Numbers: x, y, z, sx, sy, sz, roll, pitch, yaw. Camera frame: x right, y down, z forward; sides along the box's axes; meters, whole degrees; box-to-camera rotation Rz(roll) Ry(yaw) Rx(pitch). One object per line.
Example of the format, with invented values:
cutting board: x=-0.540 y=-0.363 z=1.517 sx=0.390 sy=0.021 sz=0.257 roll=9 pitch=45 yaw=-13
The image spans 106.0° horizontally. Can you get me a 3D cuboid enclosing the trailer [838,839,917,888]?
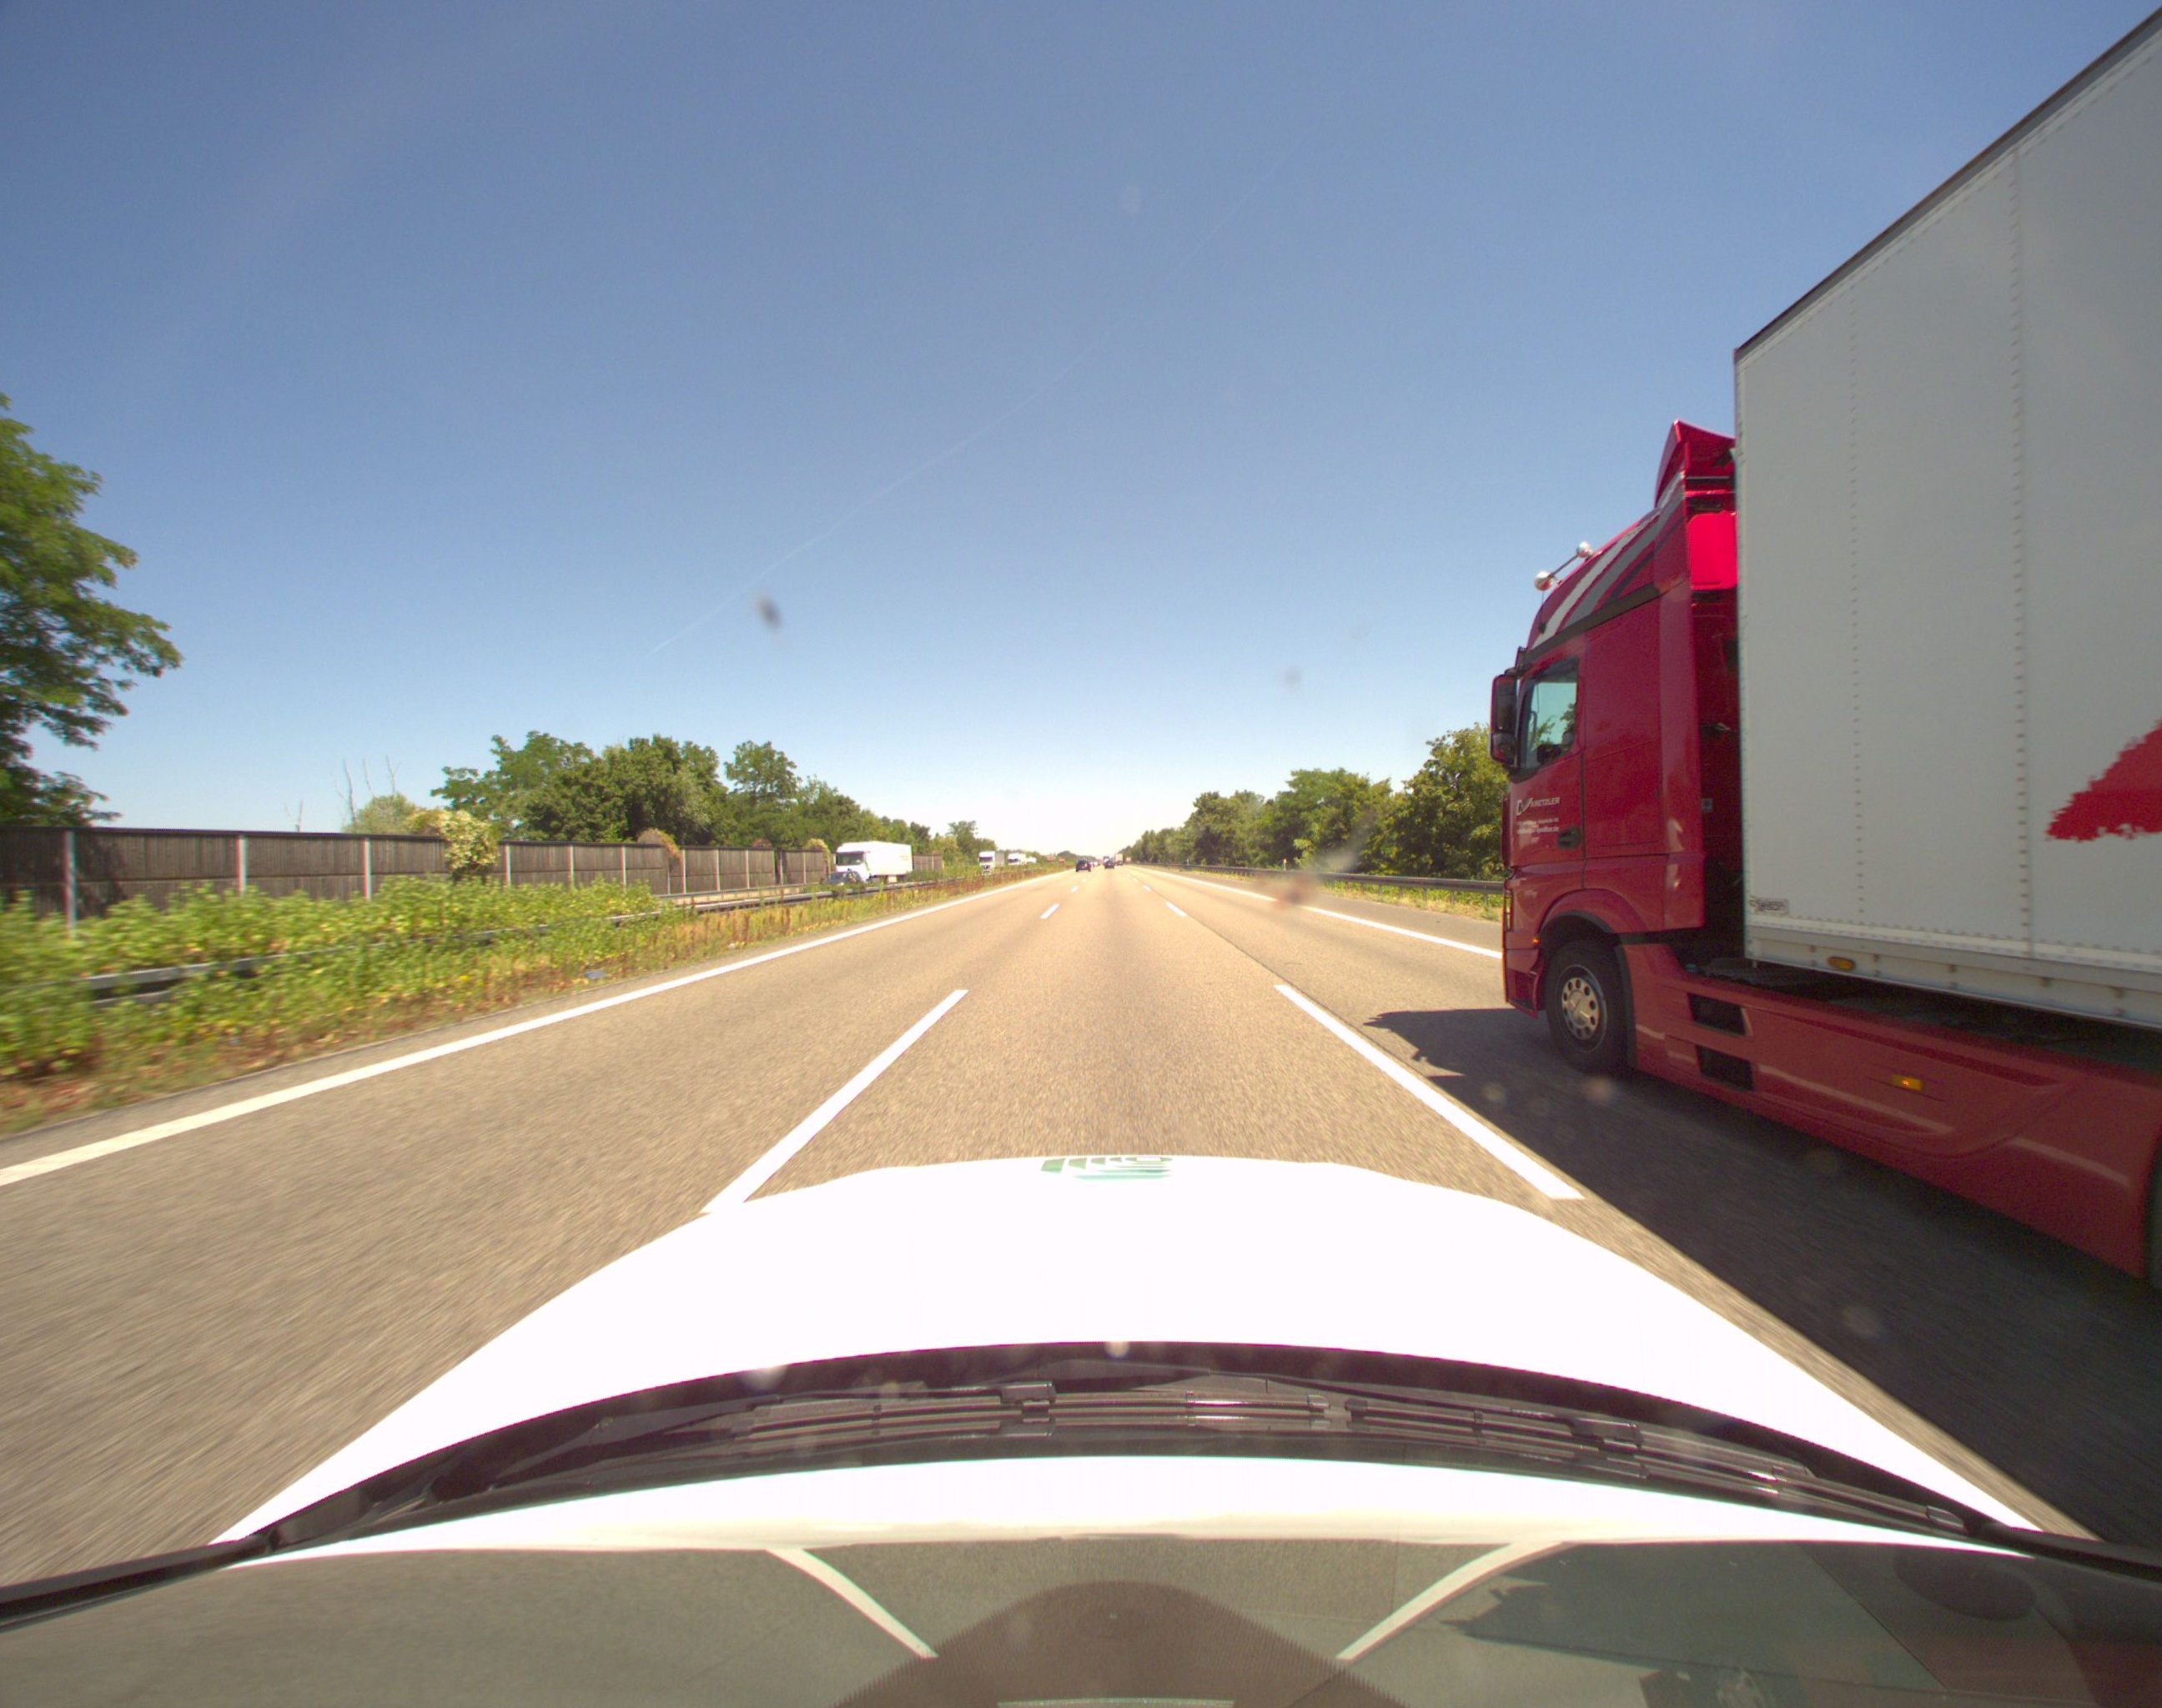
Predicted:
trailer: x=-18.946 y=0.829 z=76.929 sx=3.597 sy=4.103 sz=12.802 roll=-3 pitch=0 yaw=2

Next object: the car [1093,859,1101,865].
car: x=4.605 y=2.408 z=236.386 sx=2.120 sy=1.645 sz=4.306 roll=-3 pitch=-1 yaw=2

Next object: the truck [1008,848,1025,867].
truck: x=-14.664 y=0.706 z=184.621 sx=2.831 sy=4.207 sz=7.718 roll=-1 pitch=0 yaw=2

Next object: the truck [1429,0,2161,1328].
truck: x=4.820 y=-1.093 z=4.197 sx=3.221 sy=4.889 sz=6.976 roll=-1 pitch=0 yaw=2

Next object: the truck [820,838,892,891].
truck: x=-19.157 y=0.865 z=70.009 sx=3.568 sy=4.103 sz=7.842 roll=-3 pitch=0 yaw=2

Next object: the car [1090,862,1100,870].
car: x=3.145 y=2.721 z=180.089 sx=2.120 sy=1.645 sz=4.306 roll=-3 pitch=-1 yaw=2

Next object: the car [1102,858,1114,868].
car: x=4.677 y=1.529 z=139.020 sx=1.896 sy=1.584 sz=4.306 roll=-3 pitch=-1 yaw=2

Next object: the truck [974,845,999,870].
truck: x=-16.936 y=0.639 z=146.452 sx=3.205 sy=4.440 sz=7.874 roll=-2 pitch=-1 yaw=2

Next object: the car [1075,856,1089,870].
car: x=0.162 y=1.164 z=110.151 sx=1.874 sy=1.792 sz=4.000 roll=-2 pitch=0 yaw=0

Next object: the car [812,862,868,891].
car: x=-15.027 y=1.369 z=51.073 sx=1.986 sy=1.596 sz=4.508 roll=-3 pitch=0 yaw=2

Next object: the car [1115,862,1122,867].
car: x=11.383 y=3.166 z=245.842 sx=2.120 sy=1.584 sz=4.306 roll=-3 pitch=-1 yaw=2
